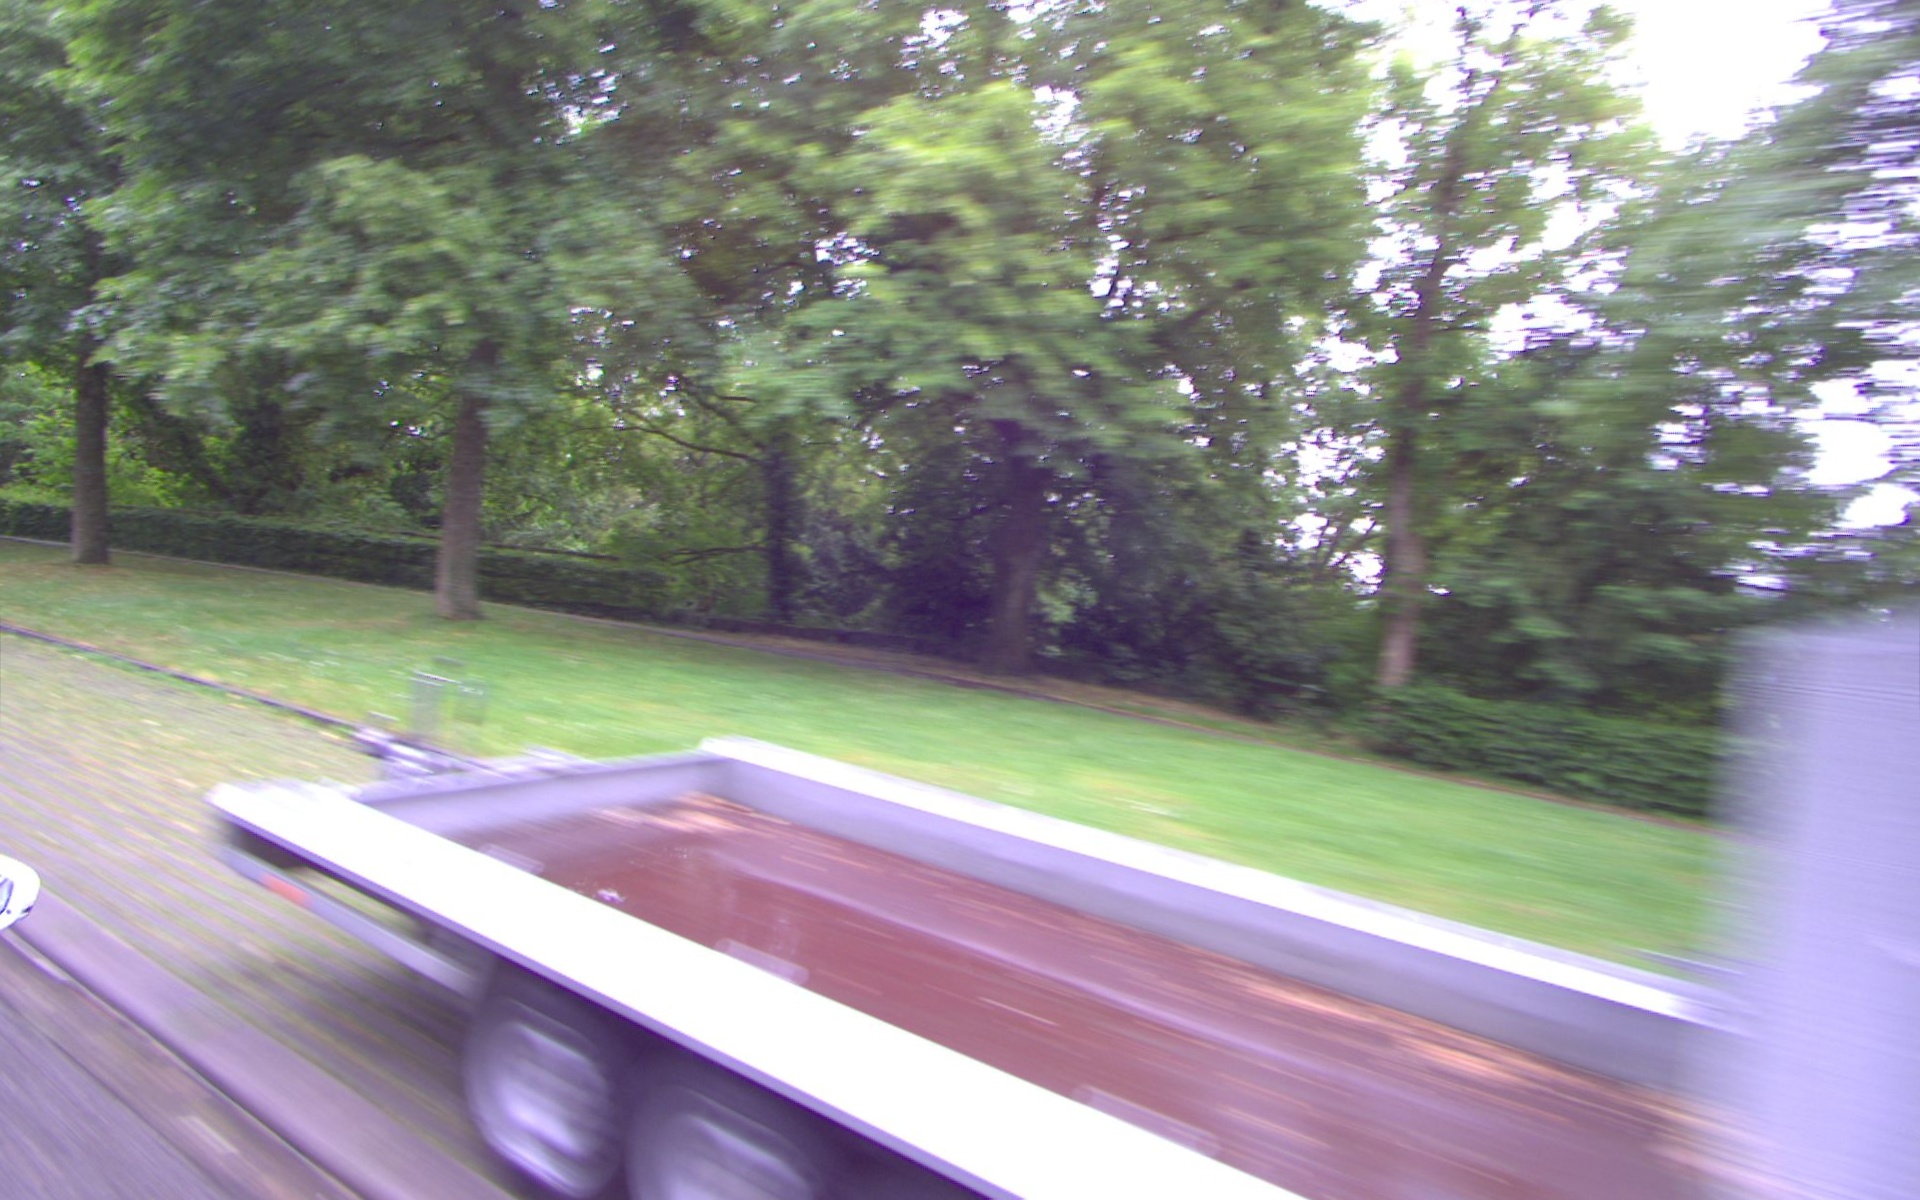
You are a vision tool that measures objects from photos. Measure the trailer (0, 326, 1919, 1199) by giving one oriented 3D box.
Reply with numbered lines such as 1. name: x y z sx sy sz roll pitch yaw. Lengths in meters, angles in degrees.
1. trailer: -0.694 0.495 3.349 5.794 1.835 2.452 6 0 31
